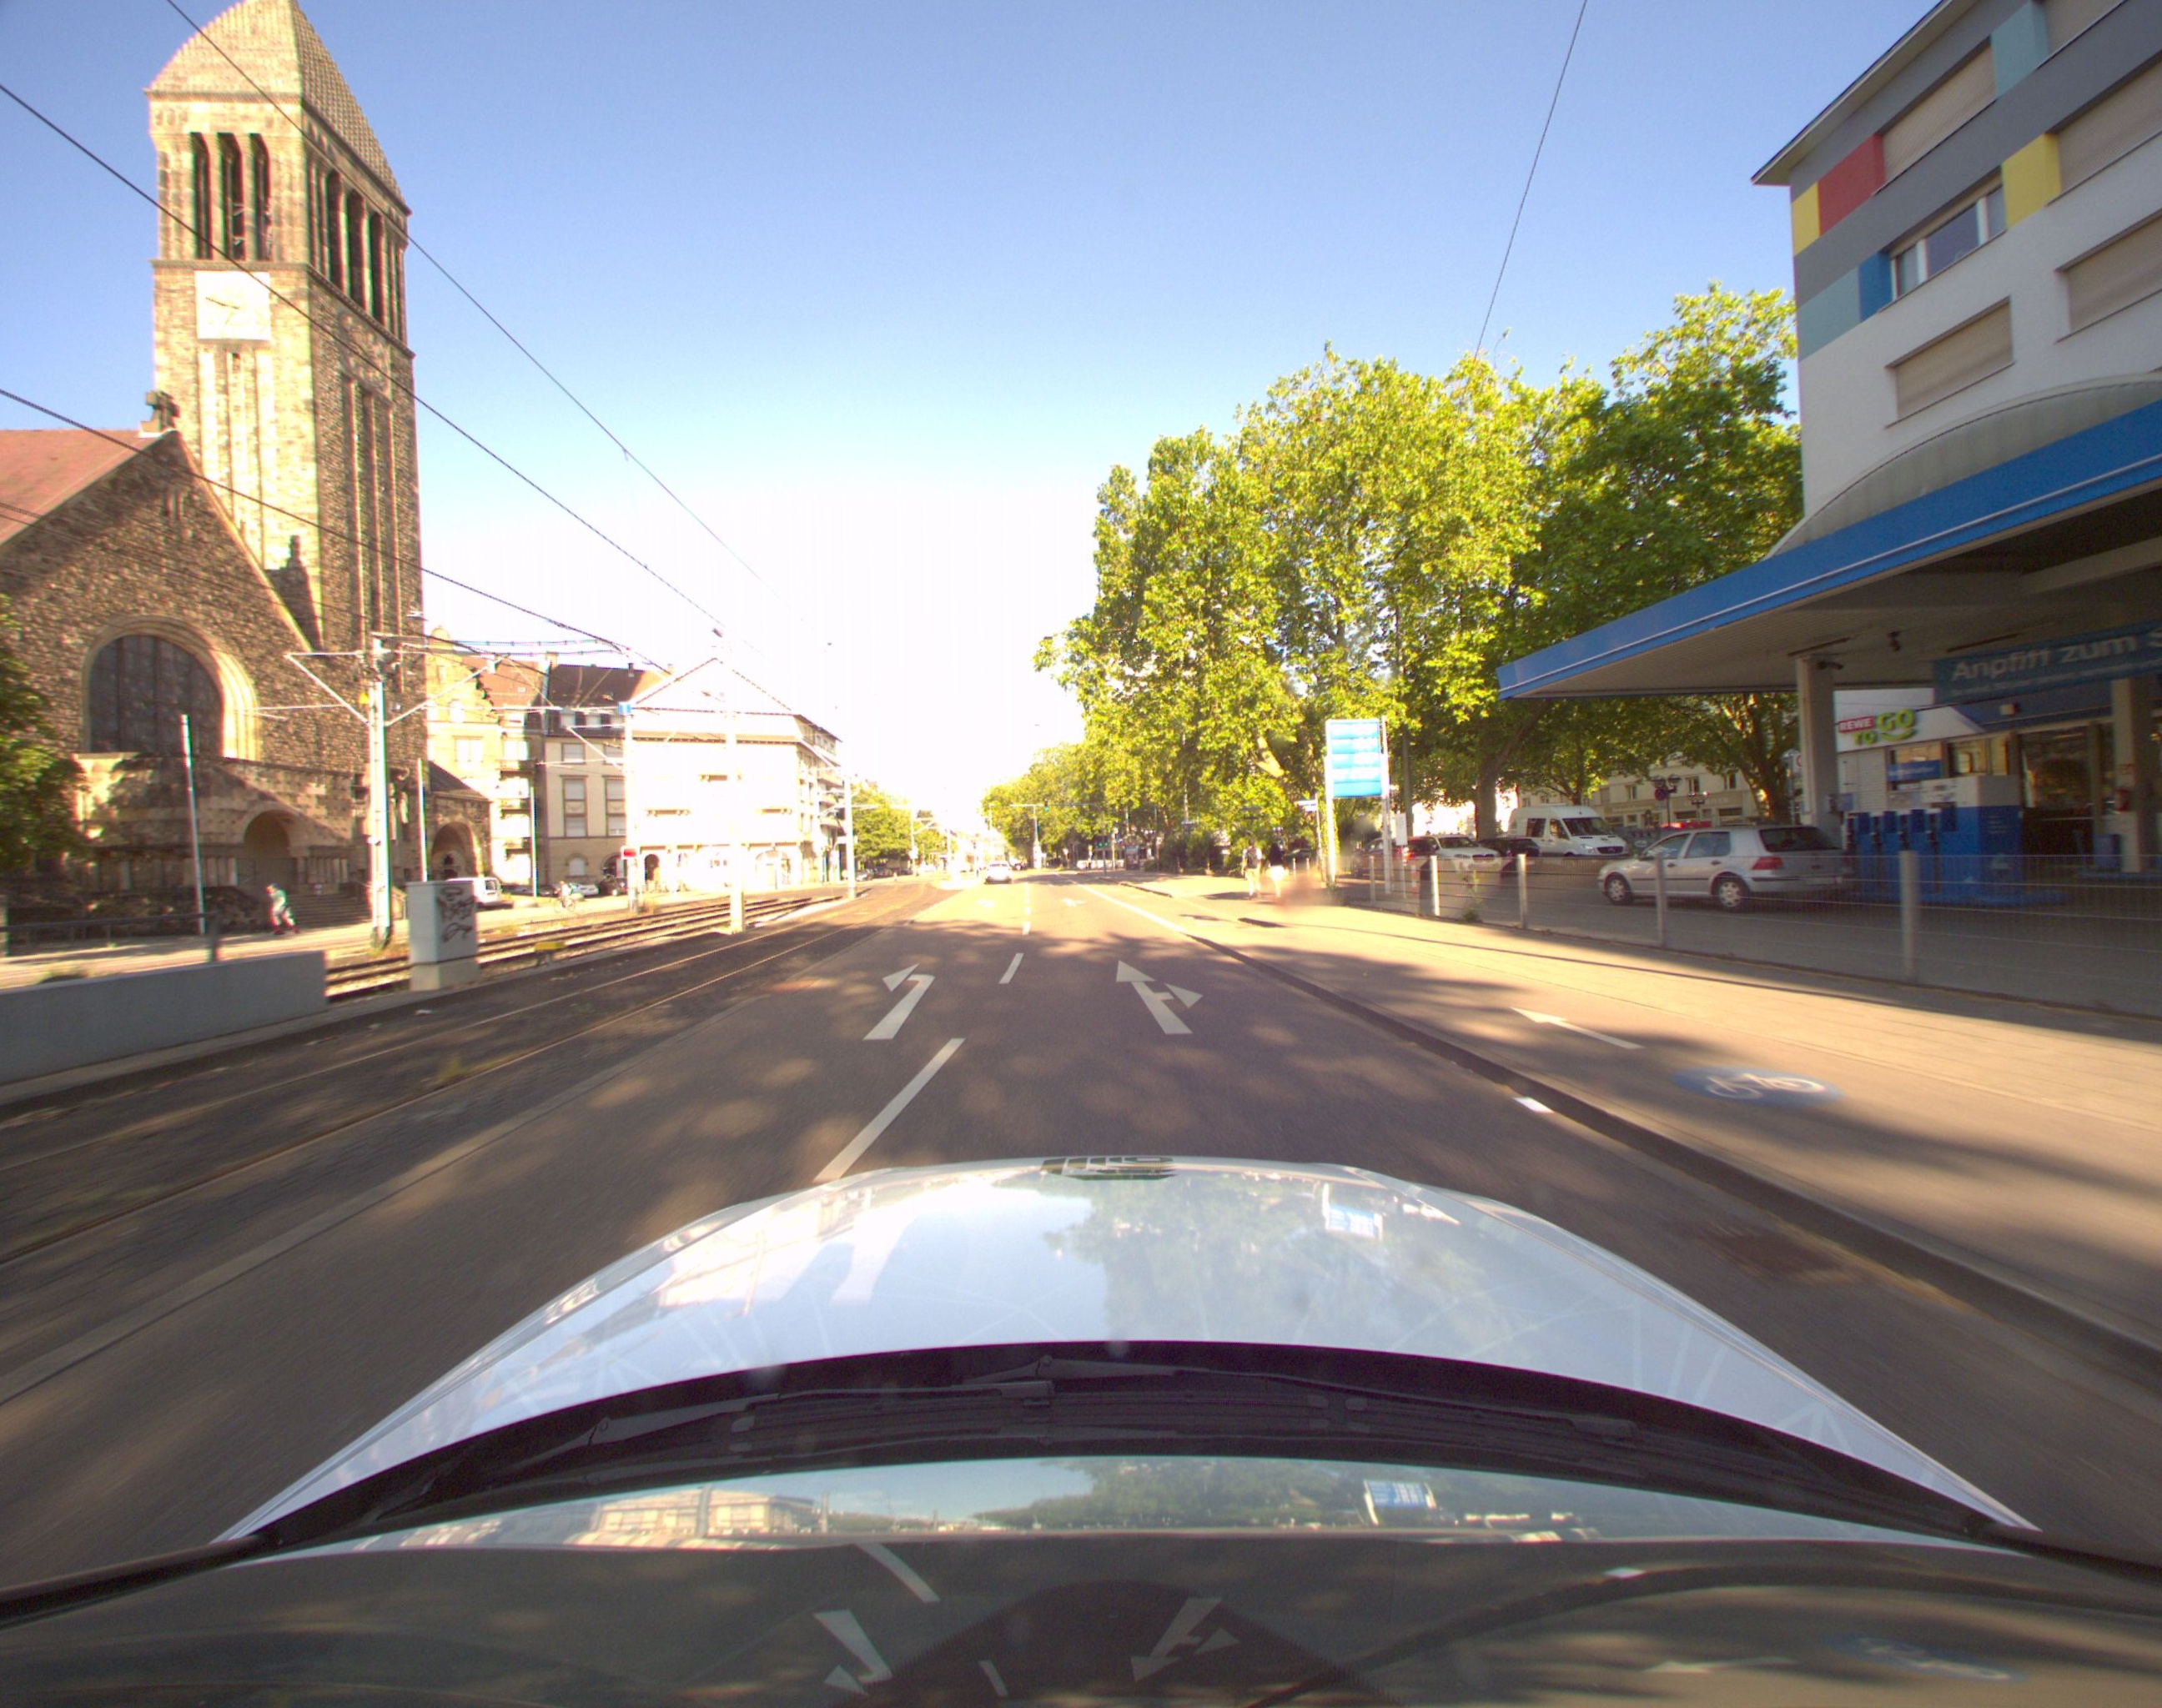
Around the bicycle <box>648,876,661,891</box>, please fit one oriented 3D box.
[{"bbox_3d":[-40.358,2.779,77.037,0.827,1.282,2.537,0,0,-35],"label":"bicycle"}]

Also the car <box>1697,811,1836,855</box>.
[{"bbox_3d":[27.668,-0.807,33.030,1.740,1.594,3.979,-3,0,-16],"label":"car"}]

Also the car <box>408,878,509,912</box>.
[{"bbox_3d":[-33.919,2.219,44.423,3.977,1.756,1.893,0,0,-2],"label":"car"}]

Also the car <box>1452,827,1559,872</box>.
[{"bbox_3d":[16.405,-0.205,31.732,1.856,1.570,3.994,-3,1,-4],"label":"car"}]

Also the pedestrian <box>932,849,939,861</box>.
[{"bbox_3d":[-22.699,0.179,127.051,0.962,1.833,0.986,0,0,-11],"label":"pedestrian"}]

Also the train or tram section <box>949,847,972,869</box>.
[{"bbox_3d":[-20.003,0.611,135.423,2.946,3.410,10.776,0,0,-4],"label":"train or tram section"}]

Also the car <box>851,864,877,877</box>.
[{"bbox_3d":[-25.757,1.940,96.843,1.990,1.449,4.833,-2,0,-4],"label":"car"}]

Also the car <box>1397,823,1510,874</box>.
[{"bbox_3d":[14.203,-0.235,31.404,1.856,1.735,4.791,-3,1,-4],"label":"car"}]

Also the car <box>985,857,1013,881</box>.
[{"bbox_3d":[-5.288,0.928,52.614,1.742,1.462,3.638,0,0,-5],"label":"car"}]

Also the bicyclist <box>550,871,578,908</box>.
[{"bbox_3d":[-25.680,1.754,40.462,0.629,1.722,0.916,-5,0,2],"label":"bicyclist"}]

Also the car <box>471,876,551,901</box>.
[{"bbox_3d":[-44.265,2.645,63.357,4.955,1.753,1.980,0,0,-31],"label":"car"}]

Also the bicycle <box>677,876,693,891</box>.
[{"bbox_3d":[-38.190,2.845,78.491,0.822,1.282,2.554,0,0,-12],"label":"bicycle"}]

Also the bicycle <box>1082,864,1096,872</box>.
[{"bbox_3d":[0.944,1.692,98.016,1.199,0.934,2.565,0,0,-10],"label":"bicycle"}]

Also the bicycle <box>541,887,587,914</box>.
[{"bbox_3d":[-25.640,2.306,40.421,0.629,1.144,2.281,-5,0,3],"label":"bicycle"}]

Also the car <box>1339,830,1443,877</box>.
[{"bbox_3d":[12.034,-0.055,31.966,1.815,1.602,4.651,-3,1,-7],"label":"car"}]

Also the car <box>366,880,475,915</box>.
[{"bbox_3d":[-33.639,2.203,41.561,3.977,1.629,1.893,0,0,-2],"label":"car"}]

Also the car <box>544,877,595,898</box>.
[{"bbox_3d":[-46.299,2.975,73.759,4.539,1.753,2.012,0,0,30],"label":"car"}]

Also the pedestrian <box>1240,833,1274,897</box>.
[{"bbox_3d":[5.120,0.301,23.718,0.601,1.776,0.879,-6,0,-1],"label":"pedestrian"}]

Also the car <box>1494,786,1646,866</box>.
[{"bbox_3d":[19.421,-1.043,32.774,2.236,2.832,5.788,-3,0,-4],"label":"car"}]

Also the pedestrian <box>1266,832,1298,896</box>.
[{"bbox_3d":[5.763,0.290,23.401,0.601,1.776,0.690,-5,0,-1],"label":"pedestrian"}]

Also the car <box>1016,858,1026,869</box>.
[{"bbox_3d":[-11.646,1.872,158.203,1.989,2.013,3.995,0,0,-4],"label":"car"}]

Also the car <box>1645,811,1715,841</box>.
[{"bbox_3d":[53.665,-2.511,72.956,5.061,2.626,2.053,0,0,-8],"label":"car"}]

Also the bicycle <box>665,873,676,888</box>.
[{"bbox_3d":[-39.057,2.527,77.482,0.825,1.282,2.545,0,0,-23],"label":"bicycle"}]

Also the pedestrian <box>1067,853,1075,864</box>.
[{"bbox_3d":[-1.294,0.521,102.238,0.653,1.388,0.837,0,0,28],"label":"pedestrian"}]

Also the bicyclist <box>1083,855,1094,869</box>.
[{"bbox_3d":[0.924,0.917,98.077,1.199,1.696,0.901,0,0,-11],"label":"bicyclist"}]

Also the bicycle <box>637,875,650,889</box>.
[{"bbox_3d":[-41.110,2.601,76.511,0.827,1.282,2.537,0,0,-35],"label":"bicycle"}]

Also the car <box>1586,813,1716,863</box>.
[{"bbox_3d":[21.999,-0.584,31.637,1.991,1.739,3.991,-3,0,-6],"label":"car"}]

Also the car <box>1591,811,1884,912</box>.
[{"bbox_3d":[11.132,0.117,14.248,1.565,1.430,4.091,-3,0,-5],"label":"car"}]

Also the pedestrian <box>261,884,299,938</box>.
[{"bbox_3d":[-28.769,2.023,29.246,0.603,1.887,0.756,0,0,-2],"label":"pedestrian"}]
